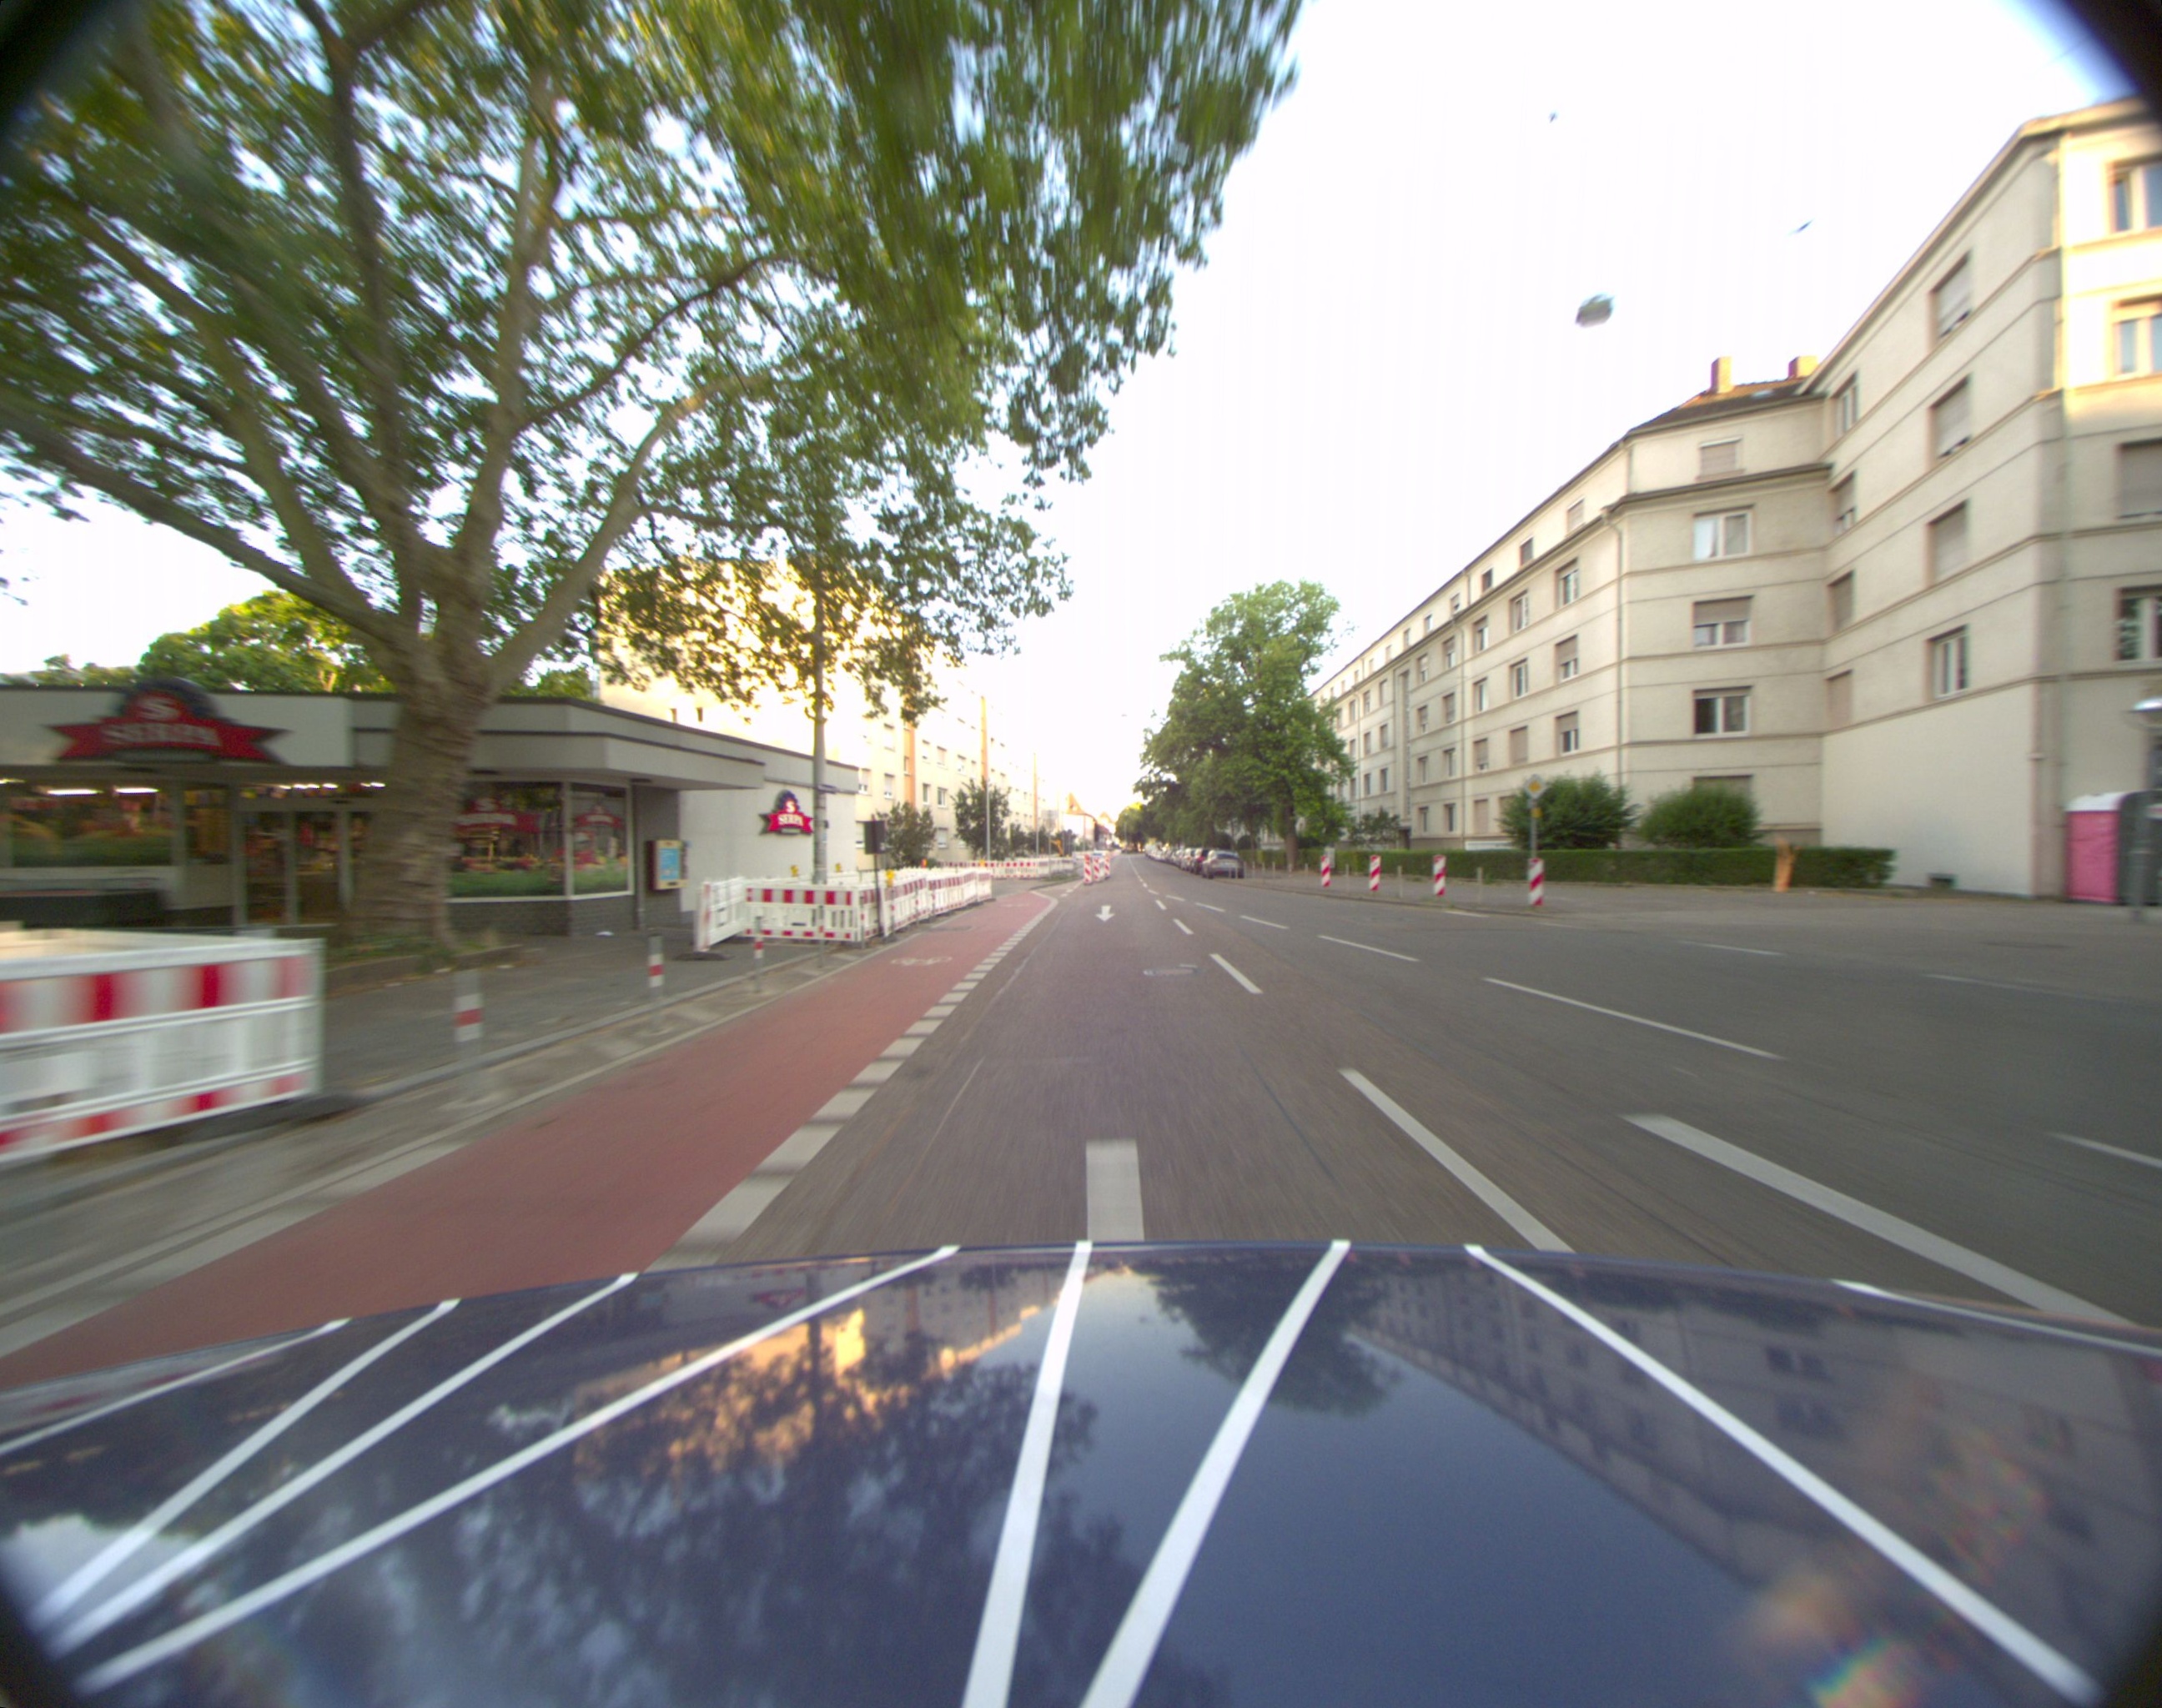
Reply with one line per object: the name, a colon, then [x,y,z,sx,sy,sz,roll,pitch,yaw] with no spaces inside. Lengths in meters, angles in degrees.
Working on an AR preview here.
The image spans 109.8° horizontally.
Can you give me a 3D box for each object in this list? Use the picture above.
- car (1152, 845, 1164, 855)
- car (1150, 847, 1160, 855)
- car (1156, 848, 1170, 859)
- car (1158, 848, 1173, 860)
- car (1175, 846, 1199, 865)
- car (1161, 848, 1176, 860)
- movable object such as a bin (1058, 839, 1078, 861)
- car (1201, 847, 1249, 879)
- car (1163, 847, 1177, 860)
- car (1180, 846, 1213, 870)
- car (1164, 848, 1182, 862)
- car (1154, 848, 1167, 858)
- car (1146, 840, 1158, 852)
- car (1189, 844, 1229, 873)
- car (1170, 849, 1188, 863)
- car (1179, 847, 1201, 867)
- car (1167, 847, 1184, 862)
car: [13.611,-0.750,134.714,1.756,1.622,4.107,2,1,2]
car: [13.620,-0.532,140.190,1.756,1.463,4.225,2,1,5]
car: [11.867,-0.086,109.986,1.696,1.451,4.145,2,1,2]
car: [11.665,-0.040,105.121,1.696,1.451,4.483,2,1,3]
car: [9.421,0.130,67.493,1.711,1.591,4.117,2,1,3]
car: [11.355,-0.012,98.845,1.593,1.496,3.799,2,1,3]
movable object such as a bin: [-1.621,-0.547,94.963,1.937,2.677,2.893,-1,1,8]
car: [7.829,0.437,41.635,1.958,1.607,4.605,1,1,3]
car: [11.102,-0.082,94.602,1.593,1.520,2.922,2,1,5]
car: [8.593,0.251,56.870,1.851,1.681,4.859,1,1,1]
car: [10.874,0.085,89.898,1.594,1.458,4.102,2,1,2]
car: [12.549,-0.206,119.798,1.678,1.451,3.705,2,1,1]
car: [14.917,-1.744,159.737,2.184,2.447,6.104,2,1,3]
car: [8.262,0.247,49.509,1.958,1.709,4.771,1,1,3]
car: [10.504,0.162,81.513,1.593,1.396,4.181,2,1,3]
car: [8.948,0.211,62.503,1.736,1.488,4.272,1,1,8]
car: [10.656,0.063,85.747,1.526,1.520,3.164,2,1,2]
